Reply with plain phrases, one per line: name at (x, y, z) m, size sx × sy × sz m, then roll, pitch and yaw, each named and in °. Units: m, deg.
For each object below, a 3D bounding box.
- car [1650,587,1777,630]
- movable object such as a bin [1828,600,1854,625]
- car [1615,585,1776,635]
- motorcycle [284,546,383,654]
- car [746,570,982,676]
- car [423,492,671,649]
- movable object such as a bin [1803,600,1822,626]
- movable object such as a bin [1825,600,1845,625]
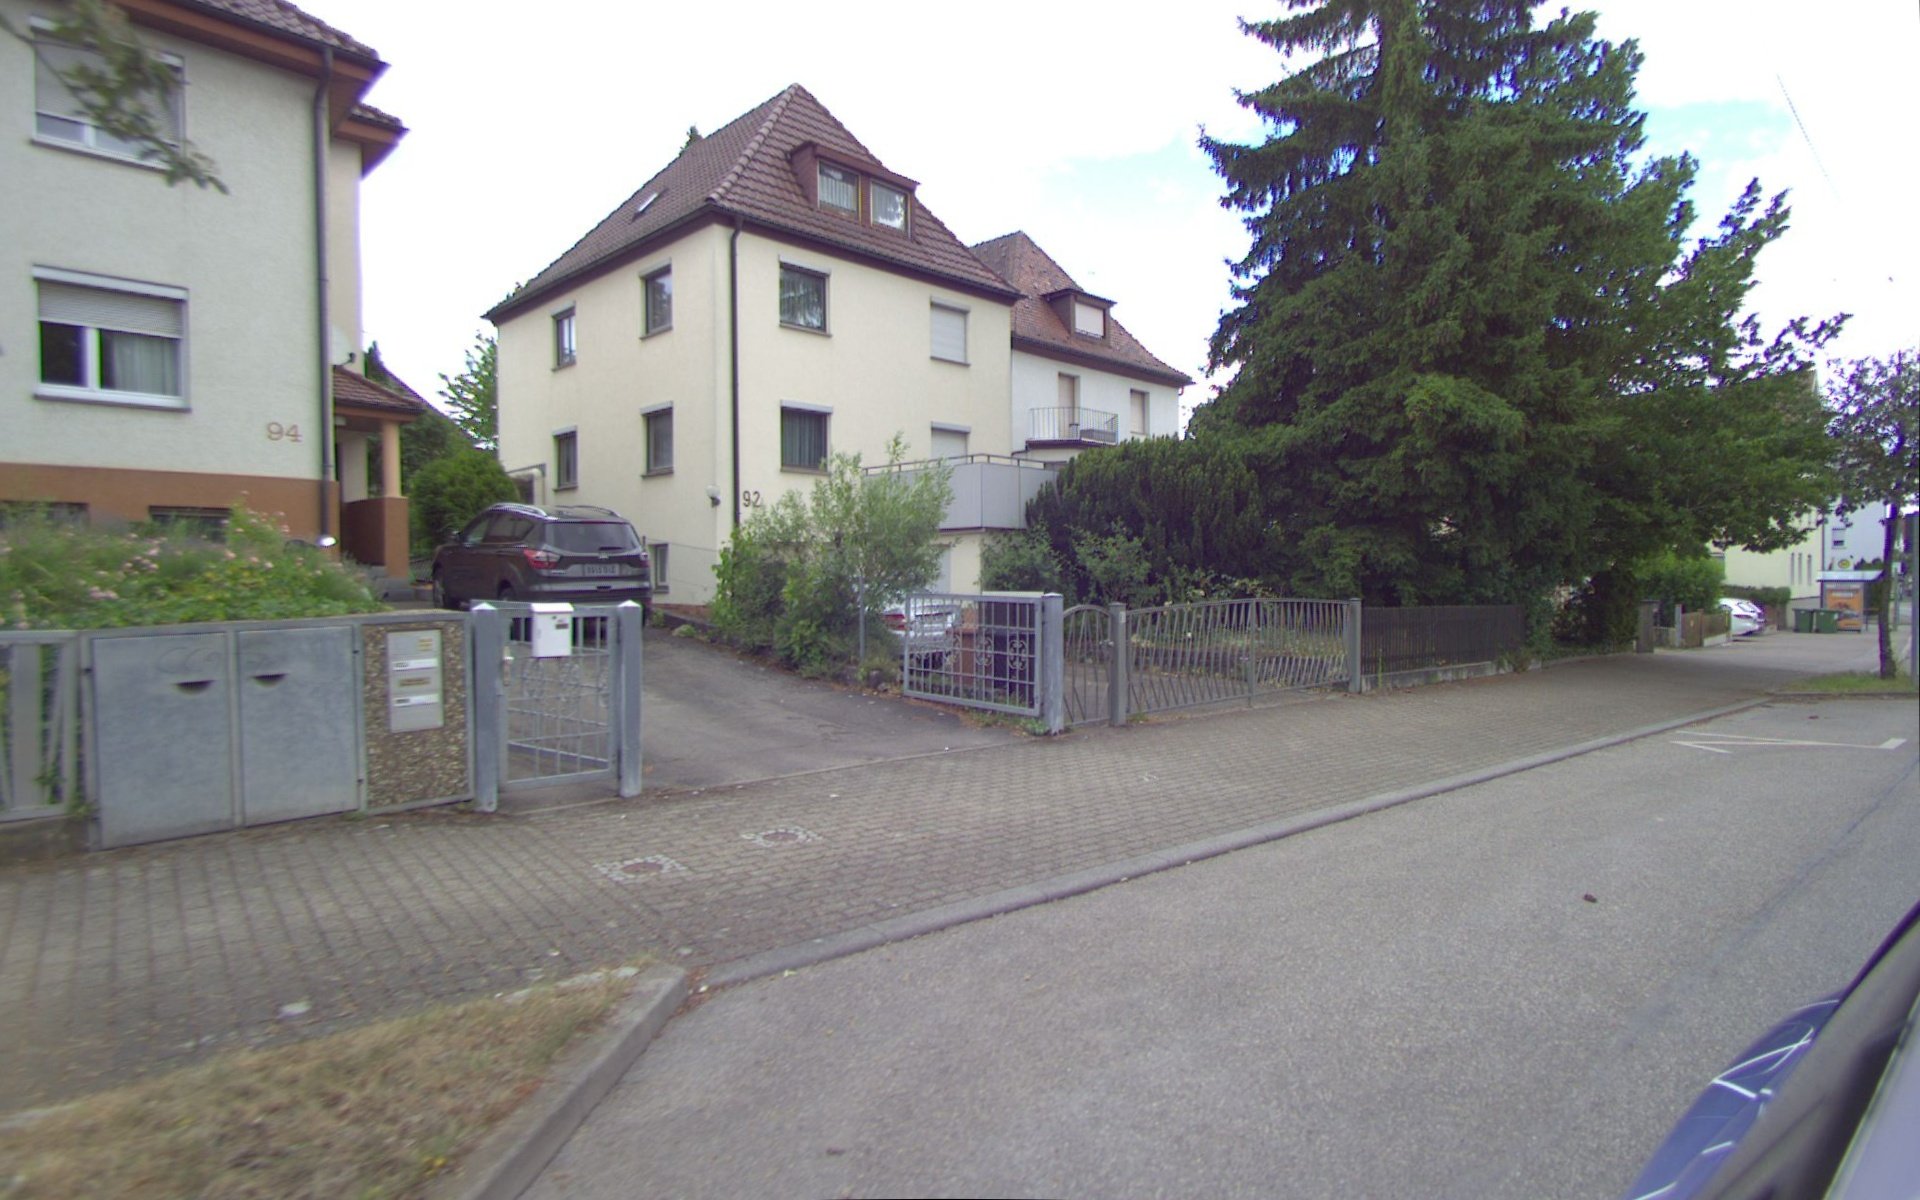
car at (29.527, 0.307, 39.700) m, size 3.804 × 1.418 × 1.615 m, roll 4°, pitch 4°, yaw 44°
movable object such as a bin at (37.947, 0.531, 43.592) m, size 0.579 × 1.059 × 0.639 m, roll -1°, pitch 0°, yaw -17°
car at (26.594, 0.314, 36.712) m, size 1.833 × 1.506 × 4.428 m, roll -2°, pitch 4°, yaw -42°
motorcycle at (-7.059, -0.030, 11.392) m, size 1.220 × 1.058 × 0.578 m, roll 8°, pitch 8°, yaw 38°
car at (-1.603, 0.257, 15.741) m, size 1.617 × 1.410 × 3.993 m, roll -1°, pitch 2°, yaw -41°
car at (-5.857, -0.540, 14.113) m, size 1.855 × 1.722 × 3.994 m, roll -3°, pitch 9°, yaw -44°
movable object such as a bin at (36.740, 0.560, 43.613) m, size 0.635 × 1.059 × 0.577 m, roll 1°, pitch 1°, yaw 41°
movable object such as a bin at (37.311, 0.522, 43.170) m, size 0.635 × 1.059 × 0.577 m, roll -1°, pitch 0°, yaw 41°
